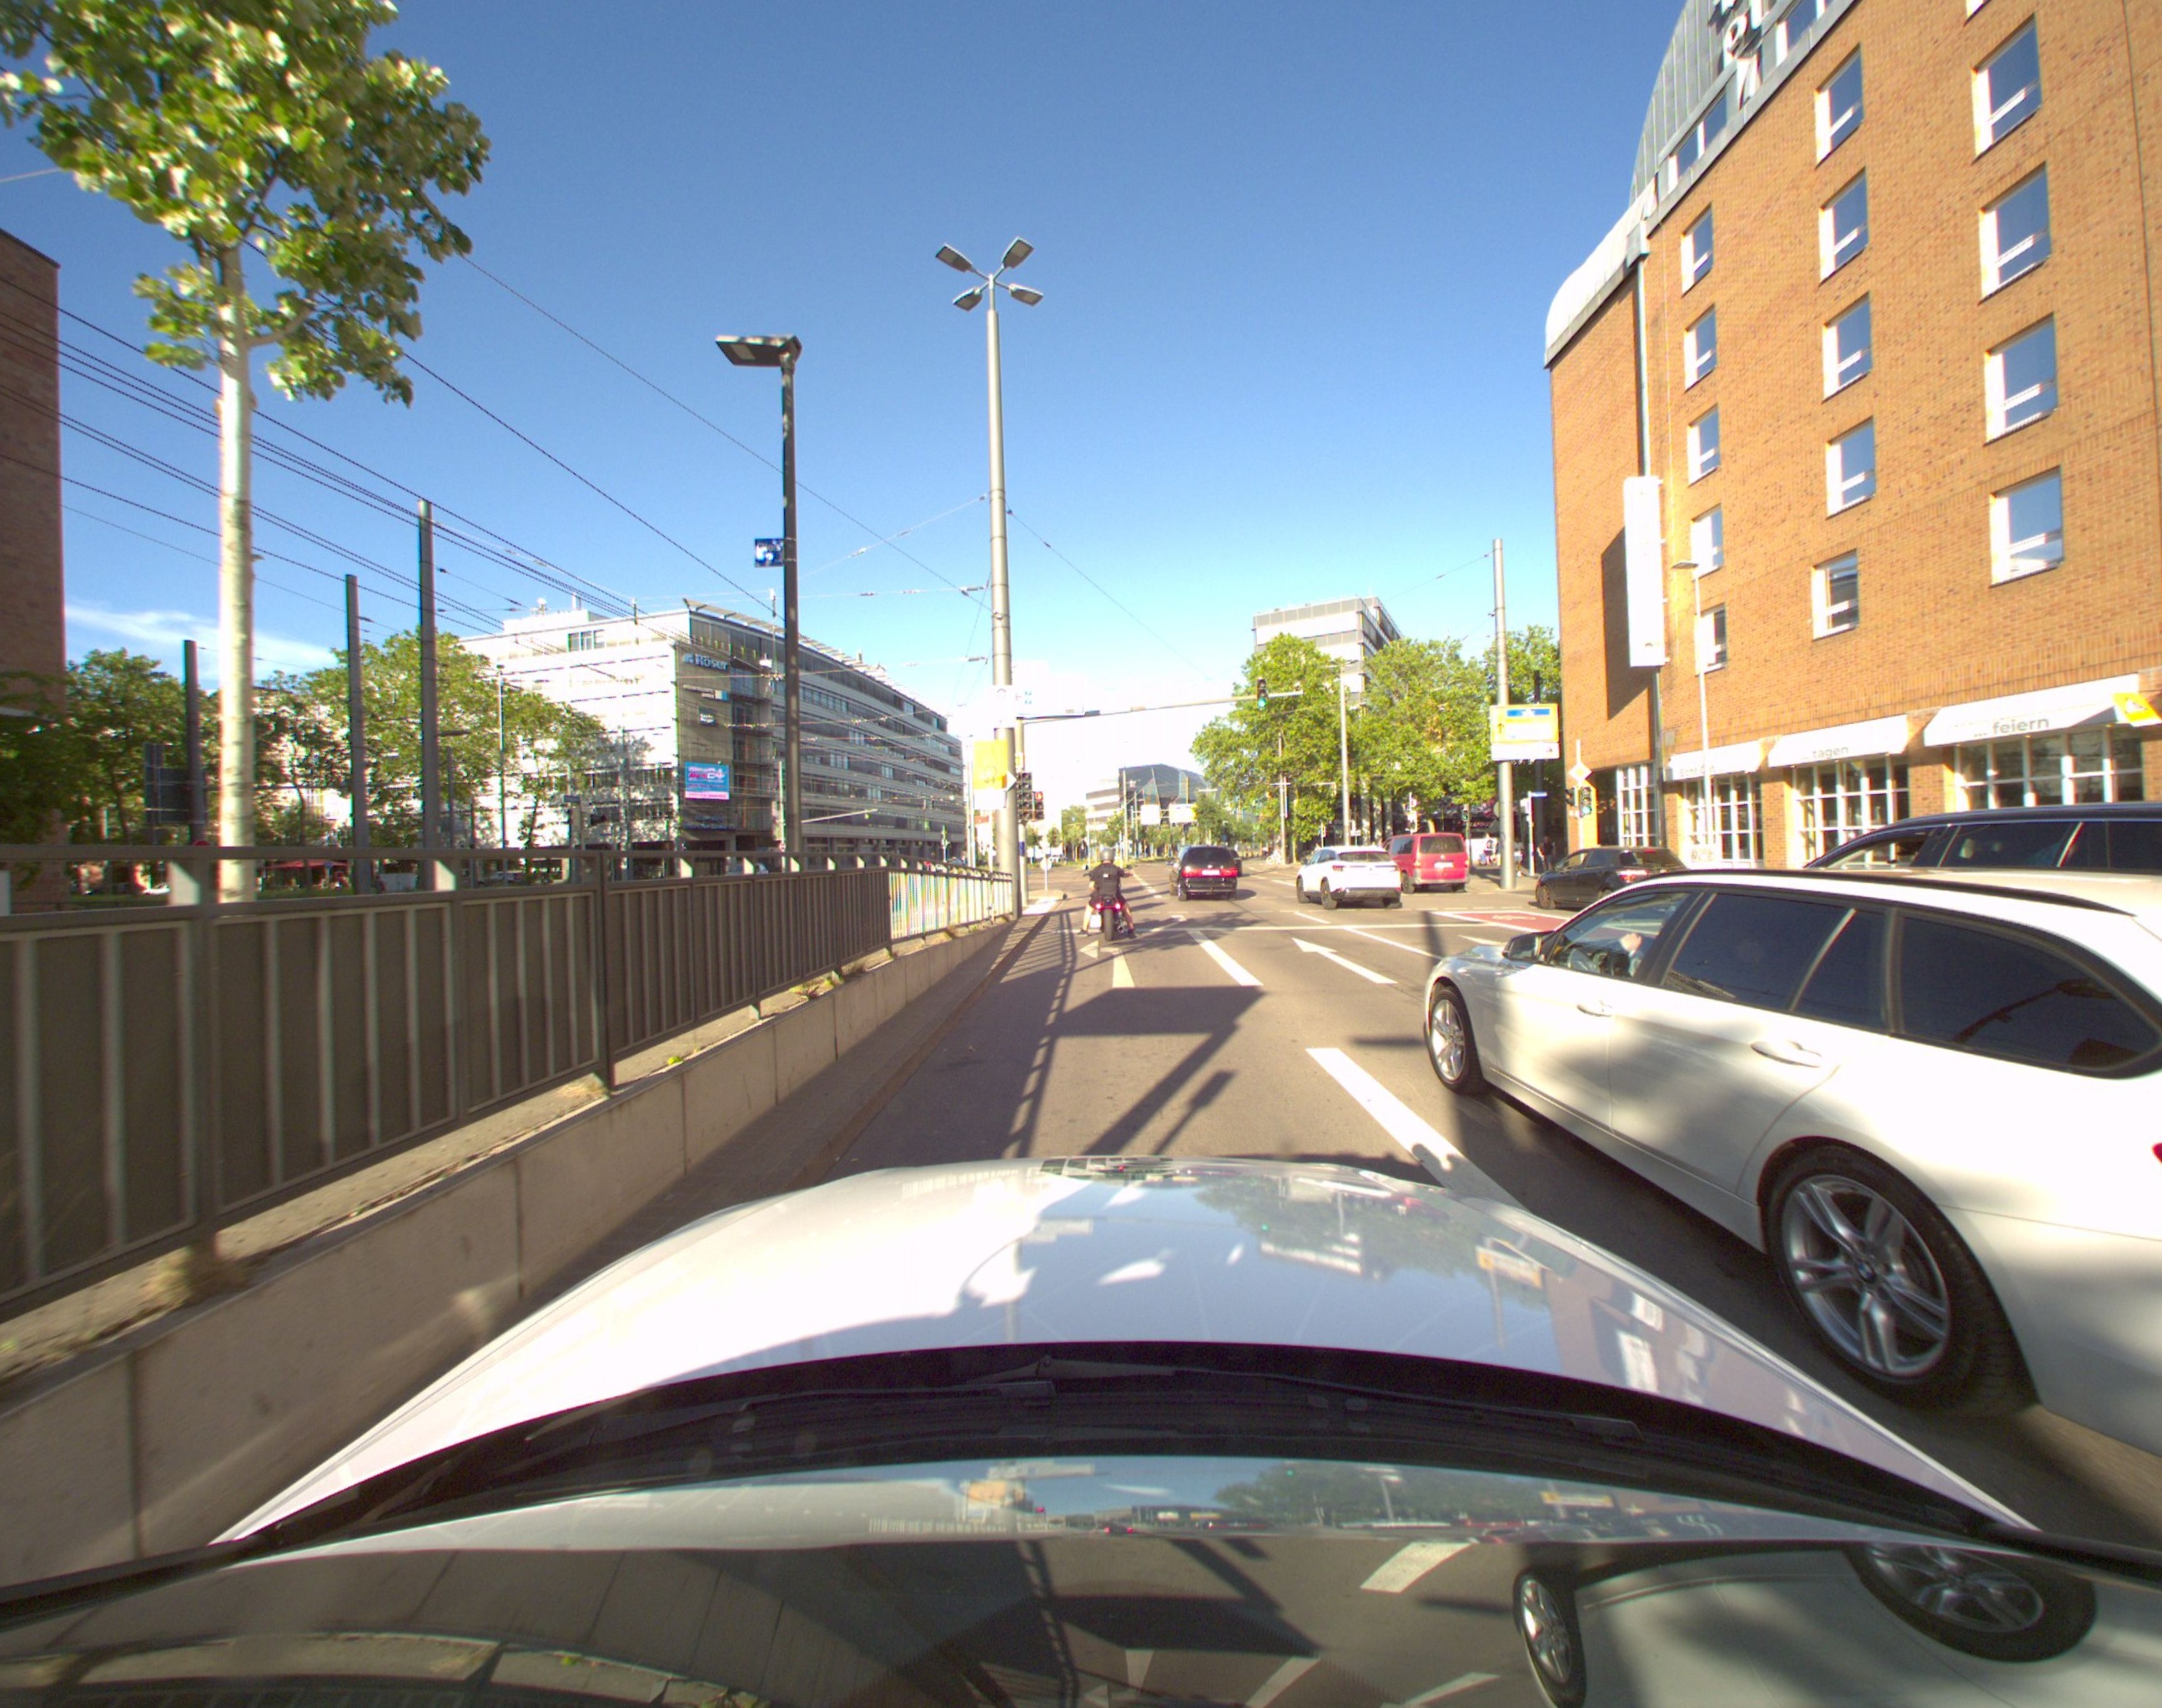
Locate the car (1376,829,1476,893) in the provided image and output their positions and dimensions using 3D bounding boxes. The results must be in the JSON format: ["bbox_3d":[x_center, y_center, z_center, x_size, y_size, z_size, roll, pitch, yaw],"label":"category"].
[{"bbox_3d":[11.602,0.215,27.699,1.852,1.961,4.004,-2,0,3],"label":"car"}]

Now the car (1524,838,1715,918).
[{"bbox_3d":[11.770,0.475,18.161,1.661,1.530,4.001,-2,0,1],"label":"car"}]

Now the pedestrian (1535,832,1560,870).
[{"bbox_3d":[20.749,-0.142,36.195,0.823,1.661,0.520,0,0,2],"label":"pedestrian"}]

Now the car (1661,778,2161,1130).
[{"bbox_3d":[6.448,0.500,5.467,1.967,1.759,4.635,0,0,2],"label":"car"}]

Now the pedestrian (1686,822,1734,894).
[{"bbox_3d":[16.290,0.103,21.117,0.604,1.821,0.748,-2,-1,1],"label":"pedestrian"}]

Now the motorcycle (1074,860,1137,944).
[{"bbox_3d":[0.455,0.779,14.495,1.015,1.312,2.916,0,0,2],"label":"motorcycle"}]

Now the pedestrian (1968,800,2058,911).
[{"bbox_3d":[15.752,0.026,13.780,0.604,1.821,0.748,-2,-1,1],"label":"pedestrian"}]

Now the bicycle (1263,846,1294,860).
[{"bbox_3d":[17.936,-0.084,73.957,2.666,1.244,0.531,-2,0,24],"label":"bicycle"}]

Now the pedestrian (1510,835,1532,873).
[{"bbox_3d":[19.105,-0.002,35.394,0.681,1.661,0.520,0,0,2],"label":"pedestrian"}]

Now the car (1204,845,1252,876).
[{"bbox_3d":[7.672,0.322,42.916,1.844,1.497,4.381,-1,0,2],"label":"car"}]

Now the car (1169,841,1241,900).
[{"bbox_3d":[3.863,0.481,25.895,1.791,1.705,4.065,-1,0,2],"label":"car"}]

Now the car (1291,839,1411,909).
[{"bbox_3d":[7.042,0.477,21.705,1.844,1.639,4.381,-1,0,2],"label":"car"}]

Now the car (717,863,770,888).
[{"bbox_3d":[-21.473,1.338,51.916,1.991,1.464,3.992,-2,0,-6],"label":"car"}]

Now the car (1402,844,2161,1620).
[{"bbox_3d":[3.008,0.729,3.493,1.686,1.497,4.411,0,0,2],"label":"car"}]

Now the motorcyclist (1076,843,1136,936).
[{"bbox_3d":[0.451,0.605,14.554,1.015,1.603,1.149,0,0,2],"label":"motorcyclist"}]

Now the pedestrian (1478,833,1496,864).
[{"bbox_3d":[22.171,-0.296,44.466,0.694,1.661,0.520,0,0,2],"label":"pedestrian"}]

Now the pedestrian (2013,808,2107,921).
[{"bbox_3d":[16.340,0.167,13.616,0.604,1.821,0.748,-2,-1,1],"label":"pedestrian"}]
